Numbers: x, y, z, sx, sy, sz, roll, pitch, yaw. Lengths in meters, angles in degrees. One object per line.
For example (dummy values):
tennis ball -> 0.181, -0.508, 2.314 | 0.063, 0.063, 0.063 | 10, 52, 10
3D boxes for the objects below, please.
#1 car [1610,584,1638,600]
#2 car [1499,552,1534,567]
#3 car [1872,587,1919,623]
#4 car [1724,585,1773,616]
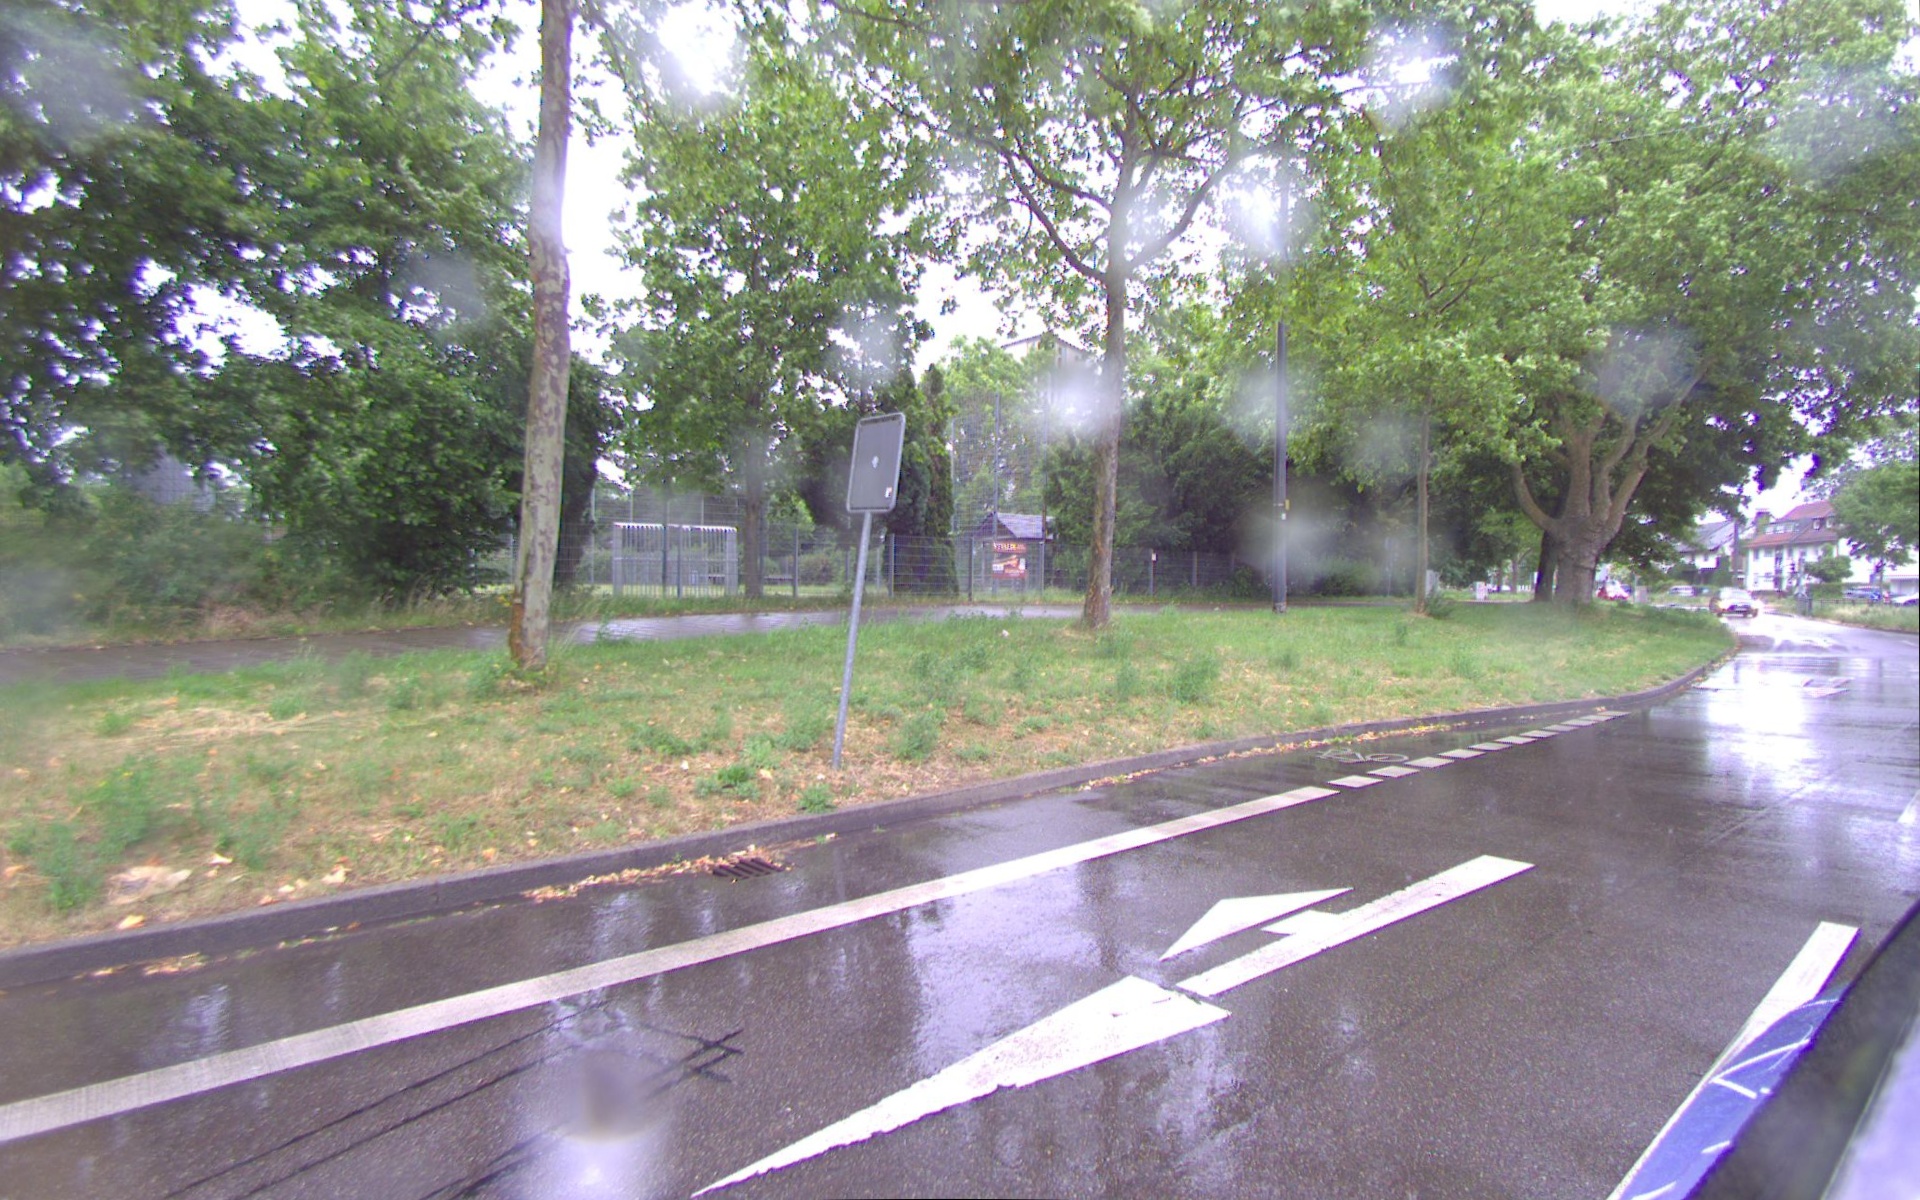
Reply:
car -> 58.196, -0.713, 88.784 | 1.773, 1.398, 3.825 | 0, 0, 29
car -> 73.726, -5.319, 134.143 | 3.958, 1.850, 1.983 | 0, 0, 25
car -> 39.387, 0.181, 40.631 | 4.025, 1.438, 1.652 | 0, 0, 39
car -> 42.730, 0.005, 54.902 | 1.861, 1.638, 3.761 | 0, 0, 35
